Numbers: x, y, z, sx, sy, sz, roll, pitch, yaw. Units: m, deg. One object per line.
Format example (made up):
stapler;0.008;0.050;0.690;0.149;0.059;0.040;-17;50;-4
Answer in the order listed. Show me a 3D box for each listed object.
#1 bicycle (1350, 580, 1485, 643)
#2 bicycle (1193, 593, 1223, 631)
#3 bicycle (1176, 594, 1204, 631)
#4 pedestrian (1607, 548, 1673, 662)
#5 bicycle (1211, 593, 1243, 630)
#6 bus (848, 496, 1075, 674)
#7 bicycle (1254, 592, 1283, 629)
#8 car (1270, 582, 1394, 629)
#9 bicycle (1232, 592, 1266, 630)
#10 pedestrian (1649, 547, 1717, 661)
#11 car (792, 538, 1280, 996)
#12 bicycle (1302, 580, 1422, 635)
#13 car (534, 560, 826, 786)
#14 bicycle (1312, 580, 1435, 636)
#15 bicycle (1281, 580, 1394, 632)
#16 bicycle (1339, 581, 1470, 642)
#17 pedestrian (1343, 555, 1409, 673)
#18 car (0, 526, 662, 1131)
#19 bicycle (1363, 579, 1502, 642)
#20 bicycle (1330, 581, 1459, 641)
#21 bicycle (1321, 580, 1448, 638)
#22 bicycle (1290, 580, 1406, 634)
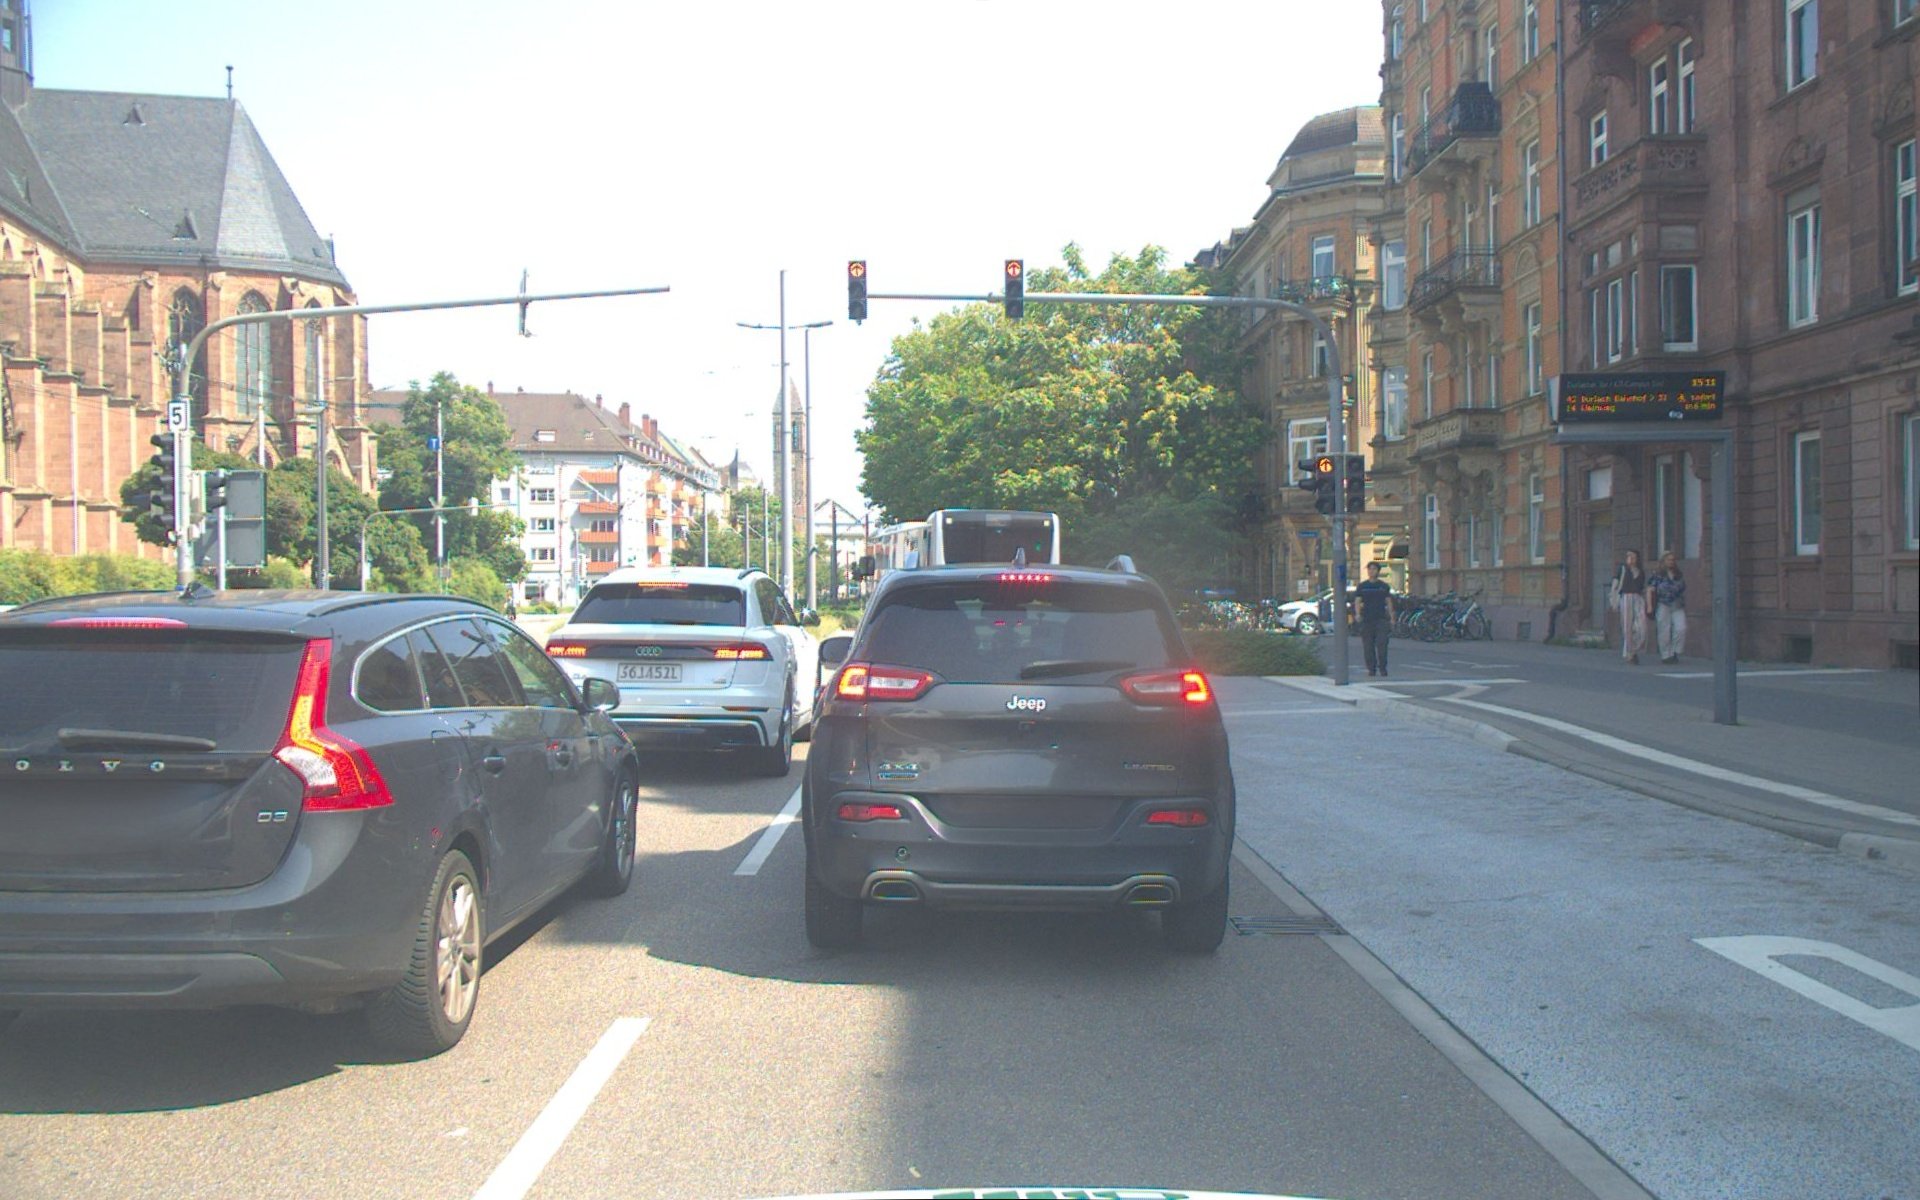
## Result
bicycle;10.777;0.264;39.057;2.933;1.395;0.871;-1;0;-2
bicycle;8.772;0.404;58.569;0.636;1.275;3.014;-1;0;1
bicycle;8.124;0.418;58.583;0.636;1.275;3.014;-1;0;1
pedestrian;11.007;0.074;26.793;0.700;1.807;0.847;-1;0;-2
bicycle;9.457;0.394;58.578;0.717;1.275;3.014;-1;0;2
bus;-0.353;-0.240;36.641;2.694;3.161;11.923;-3;0;-11
bicycle;11.012;0.364;59.049;0.644;1.271;2.413;-1;0;2
car;12.944;0.190;57.662;3.858;1.547;1.680;-1;0;-8
bicycle;10.231;0.380;58.604;0.747;1.275;3.014;-1;0;2
pedestrian;11.724;0.064;26.837;0.700;1.809;0.870;-1;0;-2
car;0.296;0.605;8.296;1.795;1.680;4.308;1;0;0
bicycle;10.666;0.190;43.964;2.943;1.397;0.947;-1;0;-2
car;-2.258;0.525;14.465;1.863;1.680;4.308;0;0;-1
bicycle;10.718;0.199;42.955;2.943;1.397;0.947;-1;0;-2
bicycle;10.556;0.172;46.321;2.943;1.397;0.947;-1;0;-2
bicycle;10.726;0.277;39.969;2.933;1.395;0.871;-1;0;-2
pedestrian;6.468;0.218;25.767;0.879;1.771;0.769;-2;0;10
car;-2.426;0.608;6.652;1.712;1.642;4.308;1;0;-1
bicycle;10.881;0.240;38.152;2.933;1.395;0.871;-1;0;-2
bicycle;10.736;0.269;40.916;2.933;1.395;0.871;-1;0;-2
bicycle;10.722;0.226;41.860;2.943;1.397;0.947;-1;0;-2
bicycle;10.610;0.193;45.280;2.943;1.397;0.947;-1;0;-2
